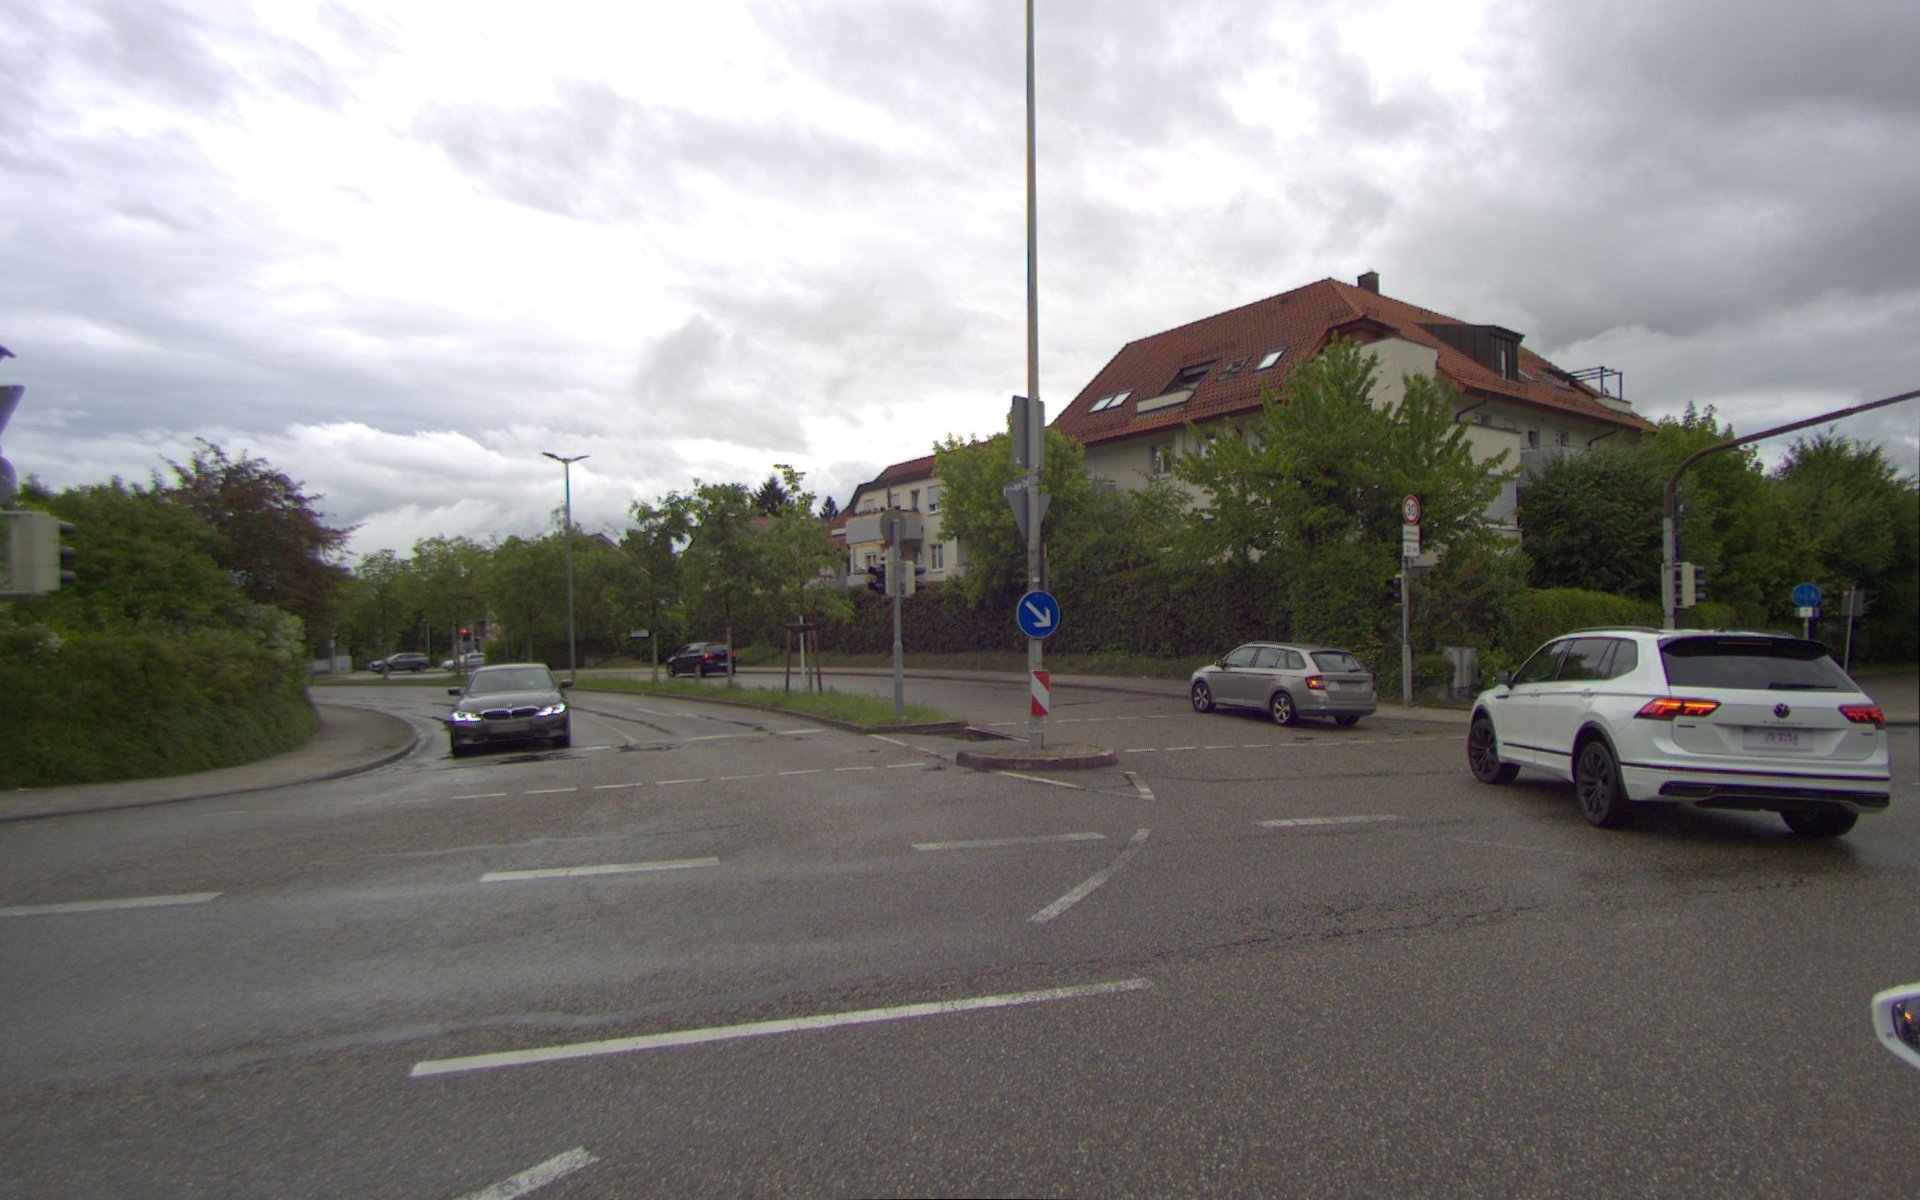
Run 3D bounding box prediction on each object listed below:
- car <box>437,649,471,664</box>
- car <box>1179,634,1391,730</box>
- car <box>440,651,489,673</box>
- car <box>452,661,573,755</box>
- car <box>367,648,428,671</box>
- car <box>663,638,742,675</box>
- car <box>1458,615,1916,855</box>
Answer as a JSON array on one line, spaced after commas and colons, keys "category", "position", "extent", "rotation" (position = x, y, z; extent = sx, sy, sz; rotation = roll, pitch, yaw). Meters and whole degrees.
[{"category": "car", "position": [-63.951, 7.127, 126.931], "extent": [3.642, 1.809, 1.735], "rotation": [2, -2, -33]}, {"category": "car", "position": [6.069, 1.472, 19.227], "extent": [1.778, 1.610, 3.906], "rotation": [1, -2, -22]}, {"category": "car", "position": [-42.790, 5.329, 86.695], "extent": [3.640, 1.809, 1.717], "rotation": [2, -2, -32]}, {"category": "car", "position": [-7.986, 1.841, 17.981], "extent": [1.752, 1.411, 4.411], "rotation": [0, -4, -24]}, {"category": "car", "position": [-46.198, 4.891, 82.555], "extent": [1.703, 1.547, 4.059], "rotation": [0, 2, 40]}, {"category": "car", "position": [-11.409, 2.442, 44.360], "extent": [1.753, 1.499, 3.950], "rotation": [2, -2, -42]}, {"category": "car", "position": [6.332, 1.064, 9.464], "extent": [1.732, 1.718, 4.276], "rotation": [0, -3, 9]}]
